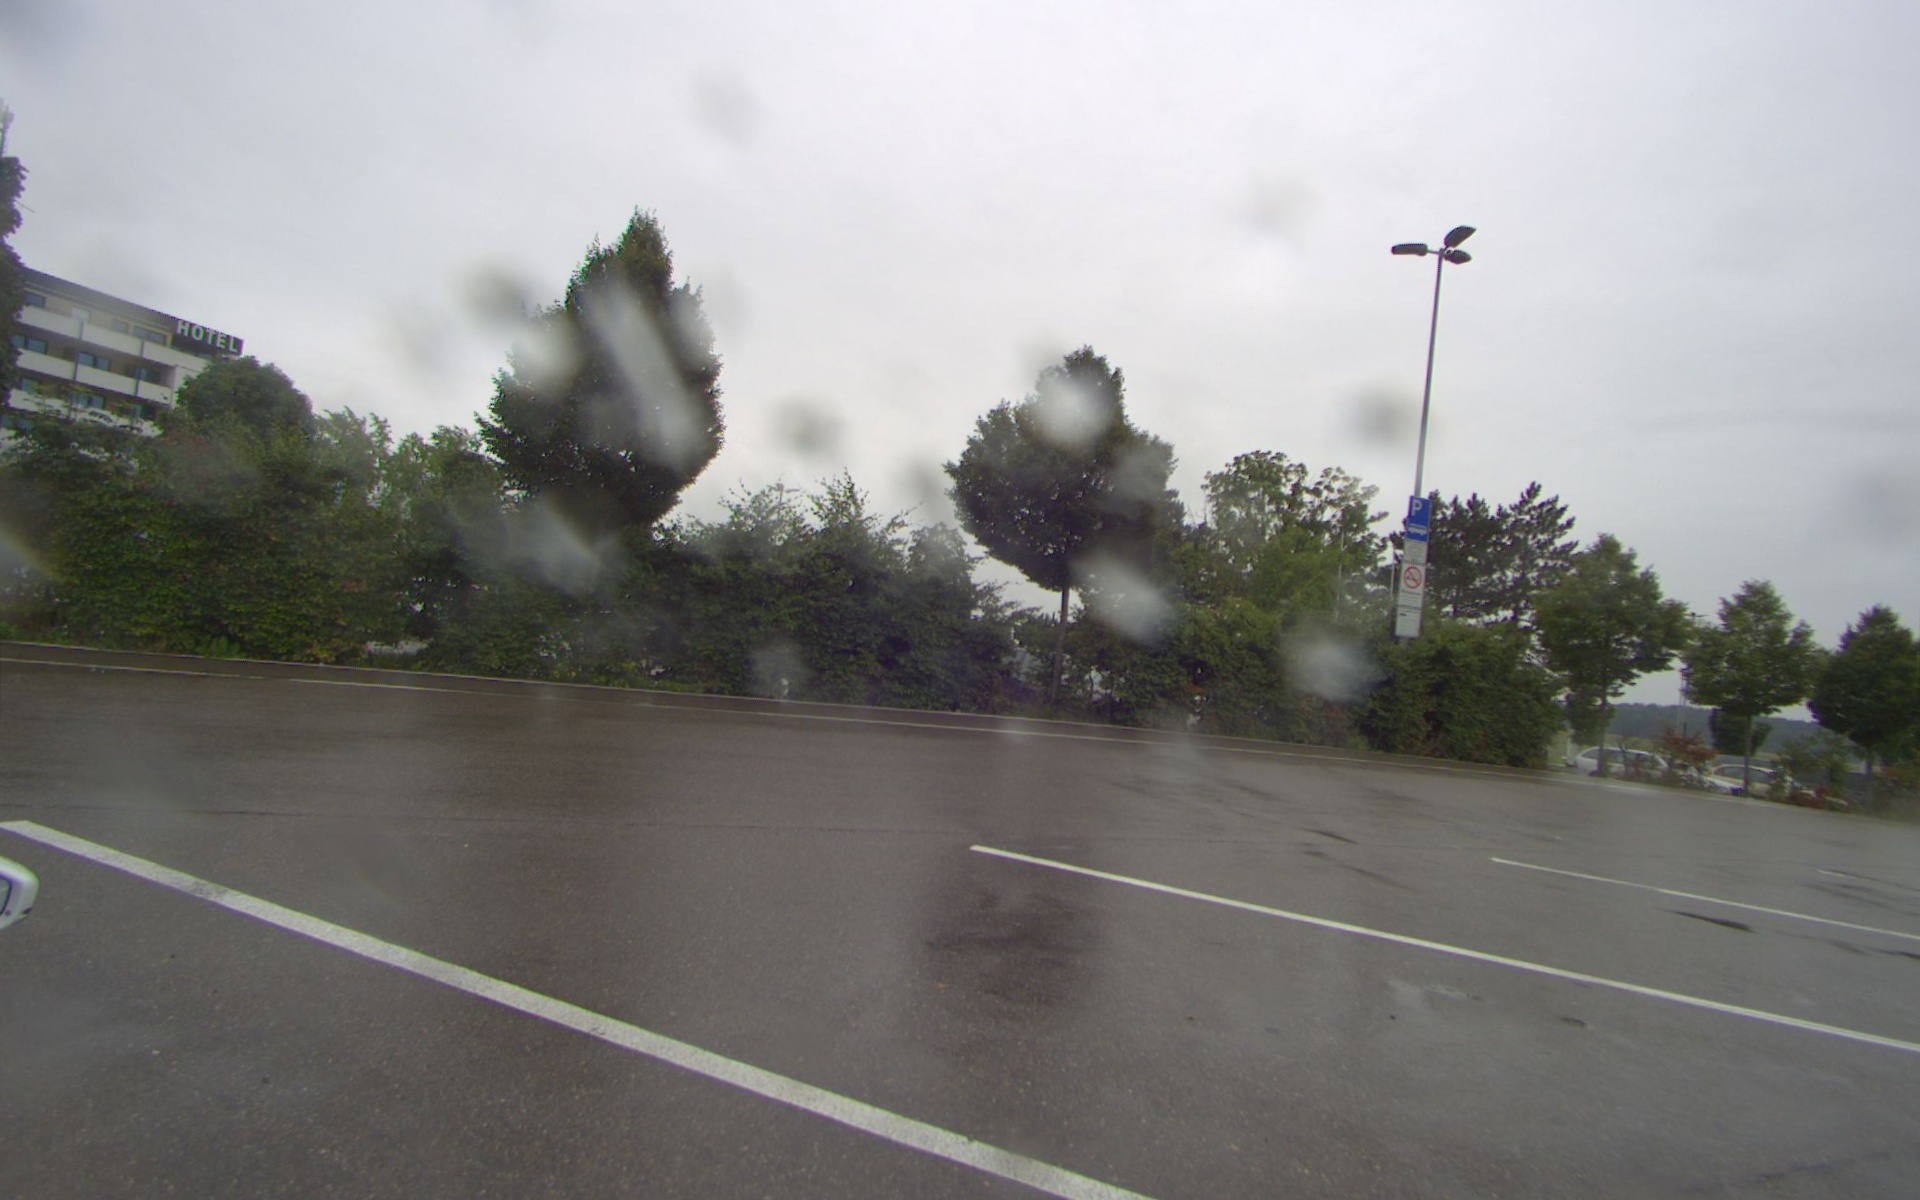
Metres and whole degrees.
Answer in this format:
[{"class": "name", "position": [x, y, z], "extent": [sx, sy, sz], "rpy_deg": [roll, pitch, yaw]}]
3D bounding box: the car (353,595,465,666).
[{"class": "car", "position": [-14.212, 0.724, 26.203], "extent": [1.860, 1.489, 4.746], "rpy_deg": [6, -2, -22]}]

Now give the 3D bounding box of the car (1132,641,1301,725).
[{"class": "car", "position": [6.020, 1.920, 24.099], "extent": [1.742, 1.515, 4.075], "rpy_deg": [6, -2, -22]}]

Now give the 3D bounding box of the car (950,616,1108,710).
[{"class": "car", "position": [1.406, 1.326, 22.262], "extent": [1.762, 1.647, 4.075], "rpy_deg": [6, -2, -22]}]
